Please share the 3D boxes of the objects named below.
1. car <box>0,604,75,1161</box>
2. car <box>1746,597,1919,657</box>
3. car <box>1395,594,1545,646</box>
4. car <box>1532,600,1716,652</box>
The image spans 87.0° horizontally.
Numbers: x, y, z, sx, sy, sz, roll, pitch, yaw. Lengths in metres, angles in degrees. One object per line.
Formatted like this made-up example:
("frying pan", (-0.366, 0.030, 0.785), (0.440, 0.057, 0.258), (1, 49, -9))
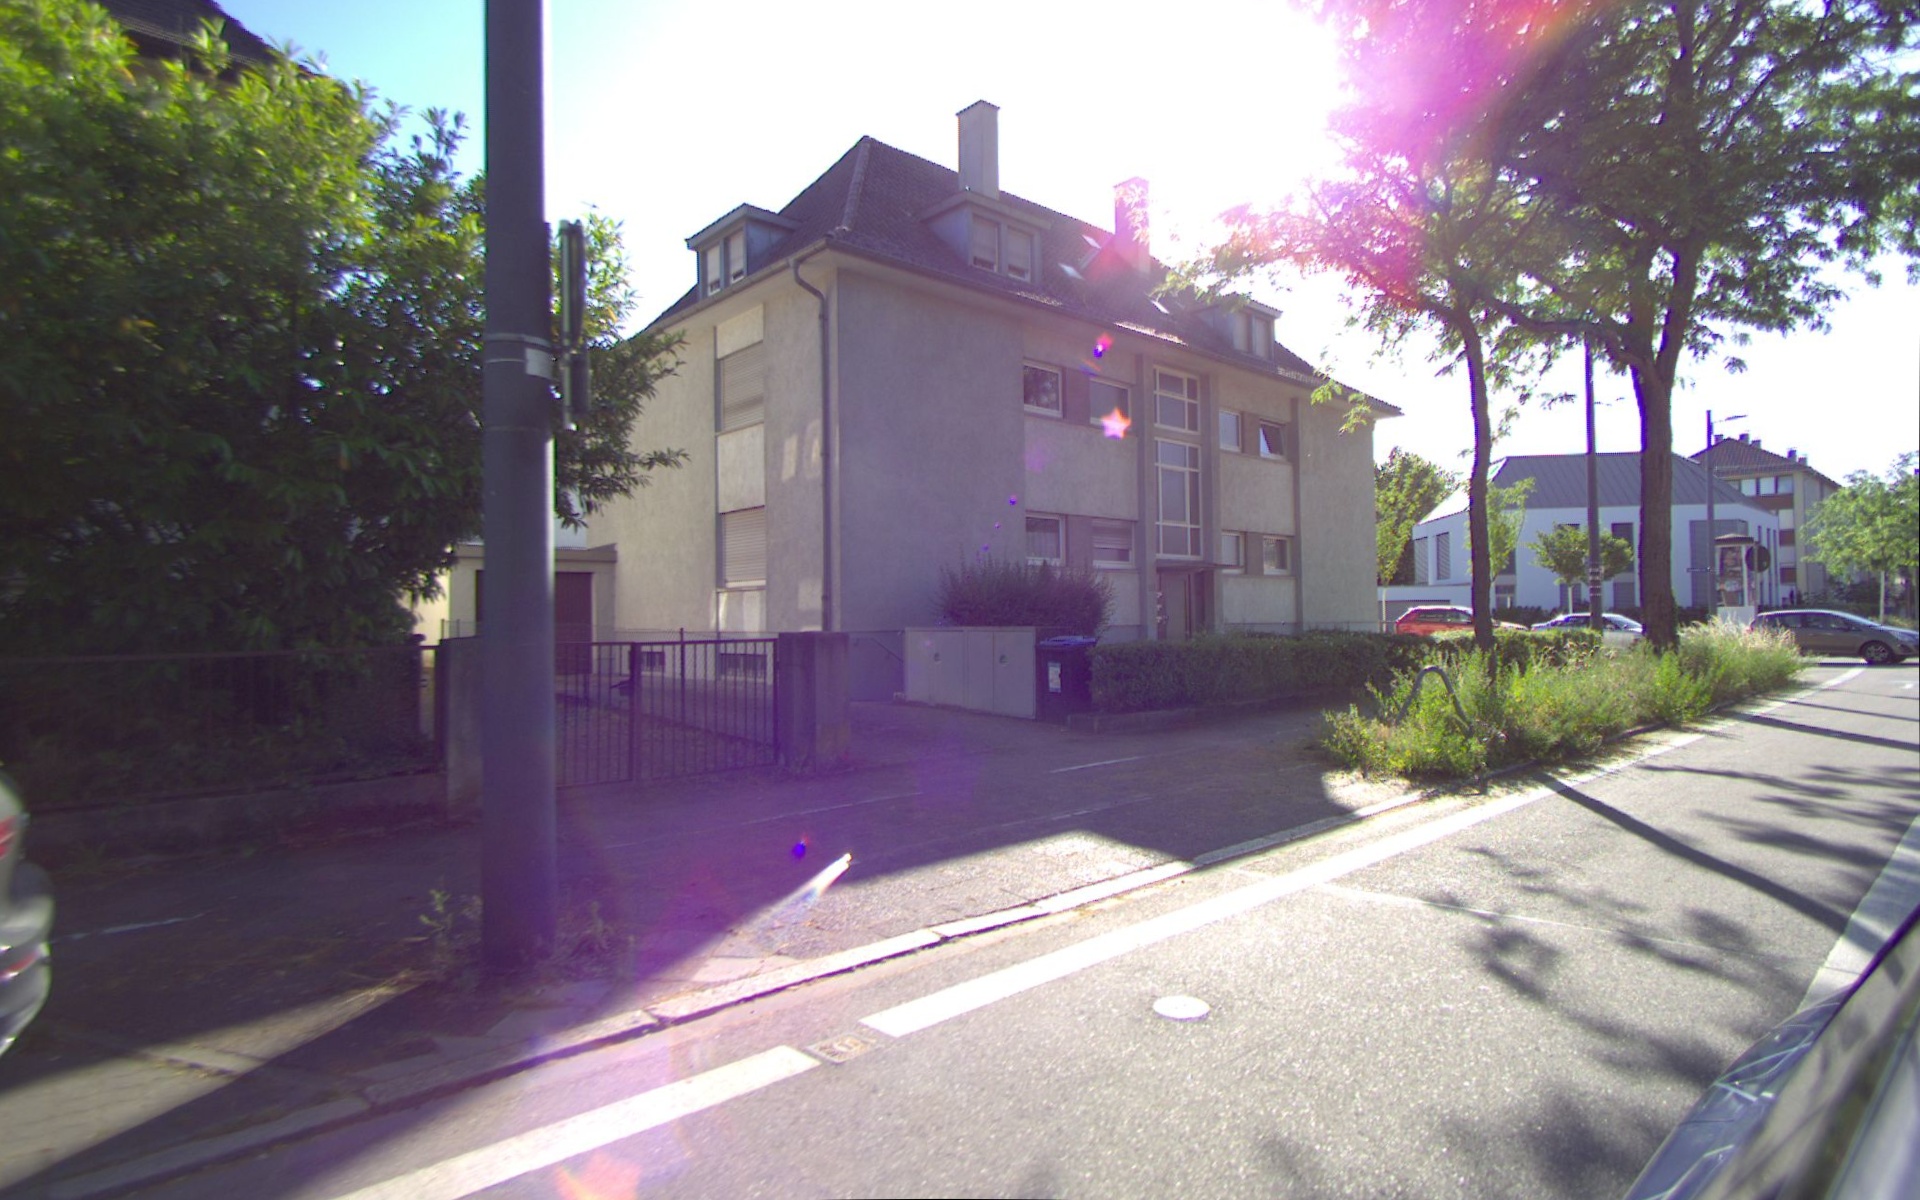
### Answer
("car", (-4.698, 0.772, 2.039), (4.367, 1.514, 1.750), (0, 0, -42))
("car", (24.361, 0.730, 27.732), (1.943, 1.527, 4.001), (0, -1, -32))
("car", (17.398, 0.690, 34.636), (1.949, 1.663, 4.166), (0, -2, -43))
("car", (21.590, 0.814, 33.117), (1.943, 1.484, 4.622), (-2, 0, -30))
